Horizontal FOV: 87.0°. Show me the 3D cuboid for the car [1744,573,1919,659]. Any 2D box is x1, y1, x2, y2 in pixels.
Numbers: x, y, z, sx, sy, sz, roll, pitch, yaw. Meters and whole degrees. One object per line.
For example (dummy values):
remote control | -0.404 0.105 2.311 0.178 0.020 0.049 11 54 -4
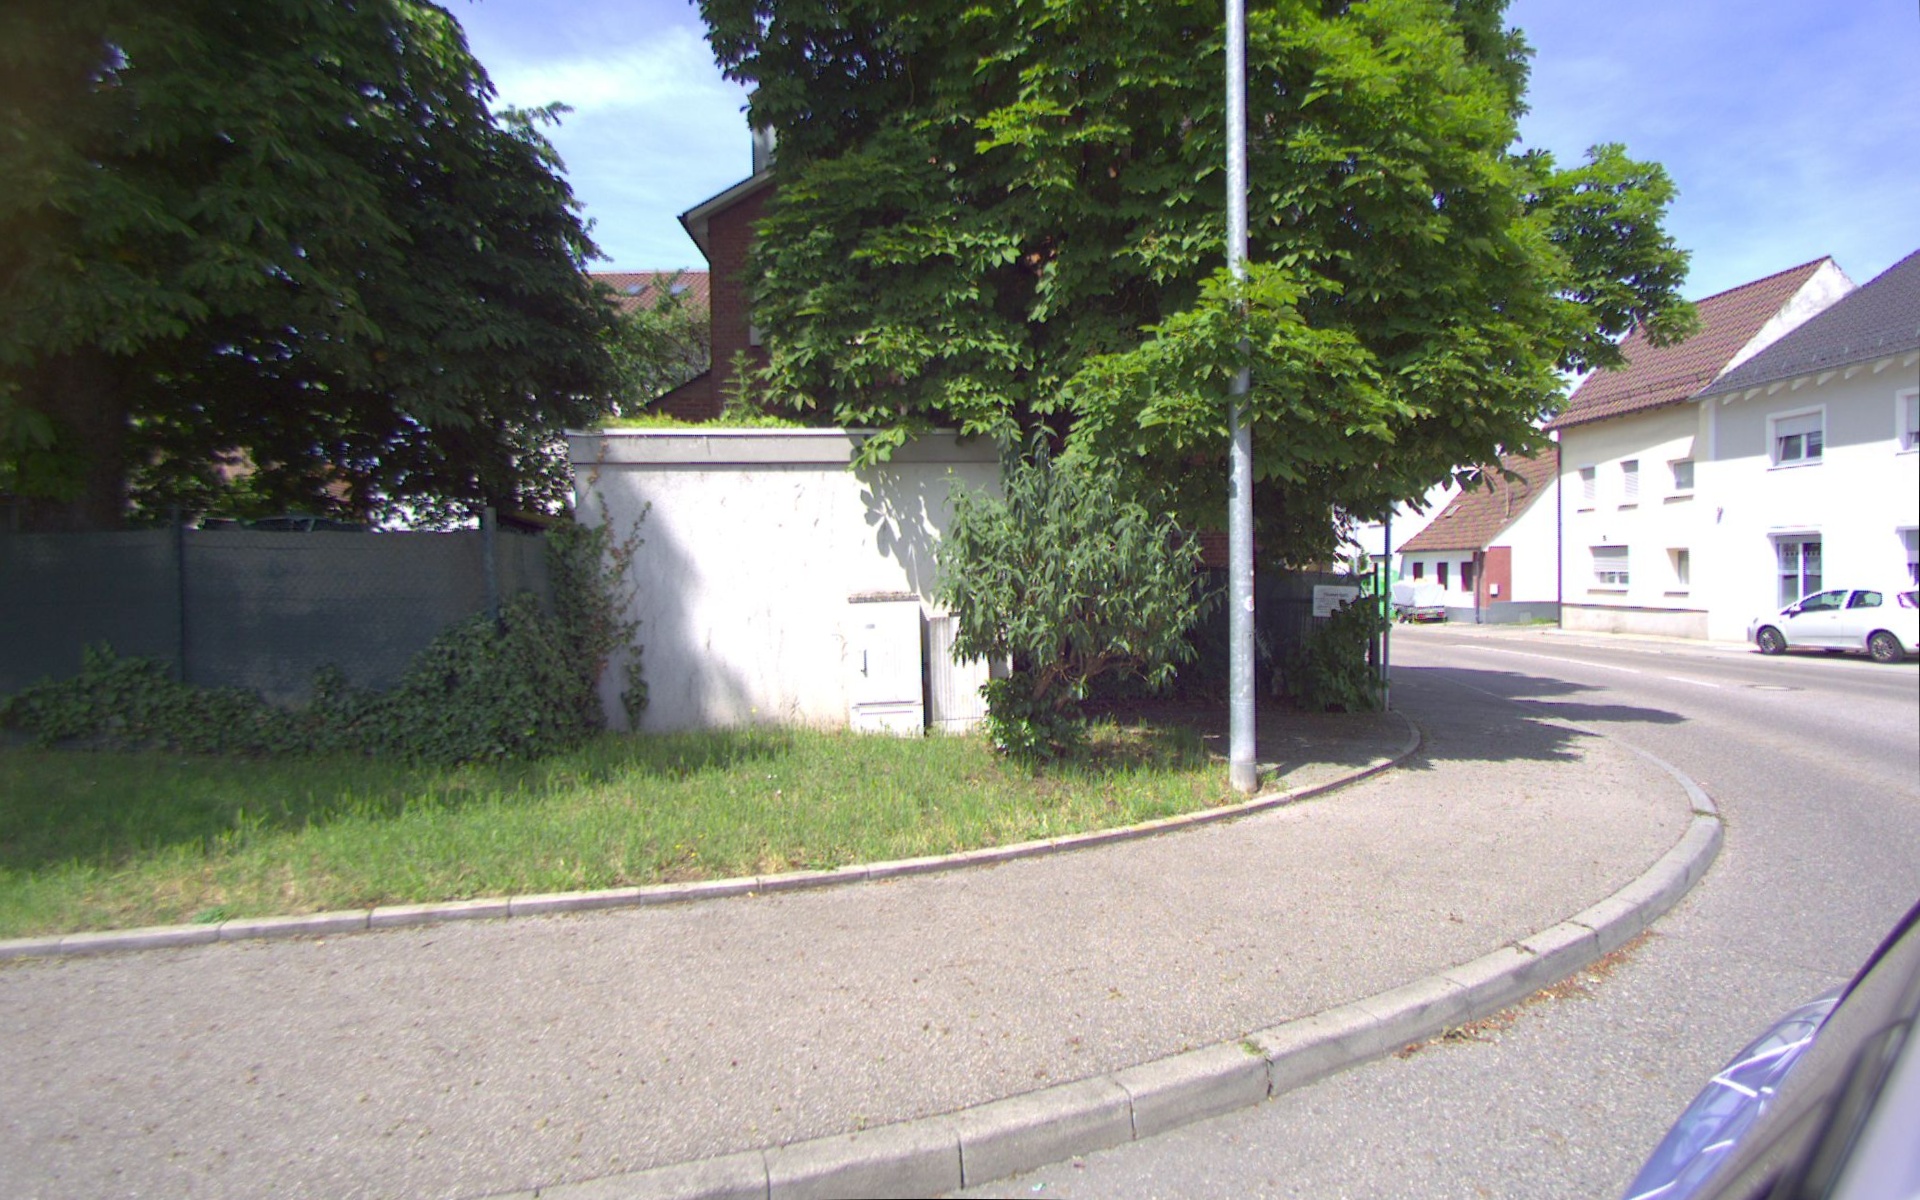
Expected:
car | 18.484 0.262 20.546 1.790 1.521 4.003 -2 1 -4
